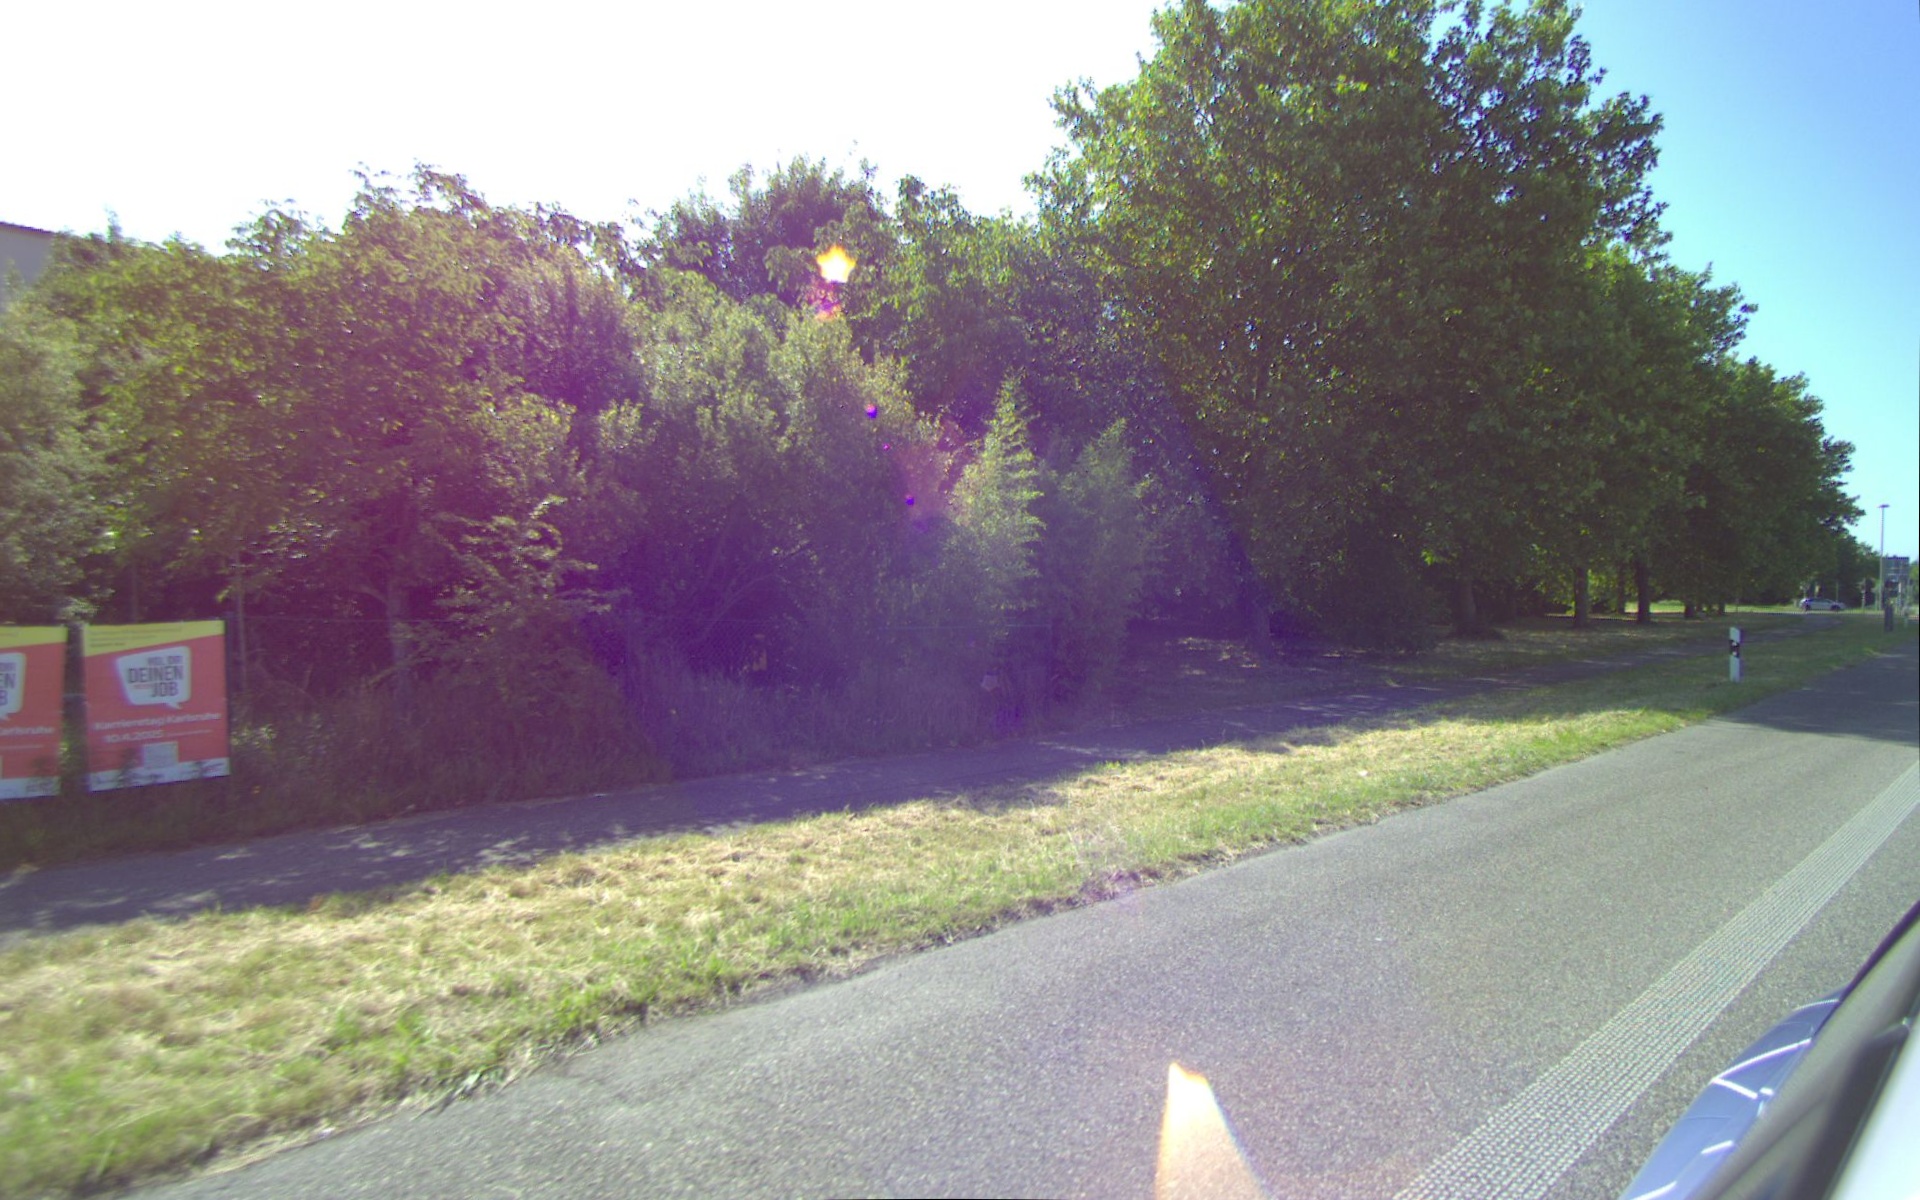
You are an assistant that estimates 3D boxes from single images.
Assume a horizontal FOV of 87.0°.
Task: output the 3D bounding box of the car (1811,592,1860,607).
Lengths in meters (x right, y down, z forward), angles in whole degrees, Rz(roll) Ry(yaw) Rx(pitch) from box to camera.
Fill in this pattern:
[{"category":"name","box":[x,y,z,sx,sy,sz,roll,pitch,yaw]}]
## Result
[{"category":"car","box":[98.618,-0.090,114.025,4.051,1.583,1.716,2,2,43]}]
